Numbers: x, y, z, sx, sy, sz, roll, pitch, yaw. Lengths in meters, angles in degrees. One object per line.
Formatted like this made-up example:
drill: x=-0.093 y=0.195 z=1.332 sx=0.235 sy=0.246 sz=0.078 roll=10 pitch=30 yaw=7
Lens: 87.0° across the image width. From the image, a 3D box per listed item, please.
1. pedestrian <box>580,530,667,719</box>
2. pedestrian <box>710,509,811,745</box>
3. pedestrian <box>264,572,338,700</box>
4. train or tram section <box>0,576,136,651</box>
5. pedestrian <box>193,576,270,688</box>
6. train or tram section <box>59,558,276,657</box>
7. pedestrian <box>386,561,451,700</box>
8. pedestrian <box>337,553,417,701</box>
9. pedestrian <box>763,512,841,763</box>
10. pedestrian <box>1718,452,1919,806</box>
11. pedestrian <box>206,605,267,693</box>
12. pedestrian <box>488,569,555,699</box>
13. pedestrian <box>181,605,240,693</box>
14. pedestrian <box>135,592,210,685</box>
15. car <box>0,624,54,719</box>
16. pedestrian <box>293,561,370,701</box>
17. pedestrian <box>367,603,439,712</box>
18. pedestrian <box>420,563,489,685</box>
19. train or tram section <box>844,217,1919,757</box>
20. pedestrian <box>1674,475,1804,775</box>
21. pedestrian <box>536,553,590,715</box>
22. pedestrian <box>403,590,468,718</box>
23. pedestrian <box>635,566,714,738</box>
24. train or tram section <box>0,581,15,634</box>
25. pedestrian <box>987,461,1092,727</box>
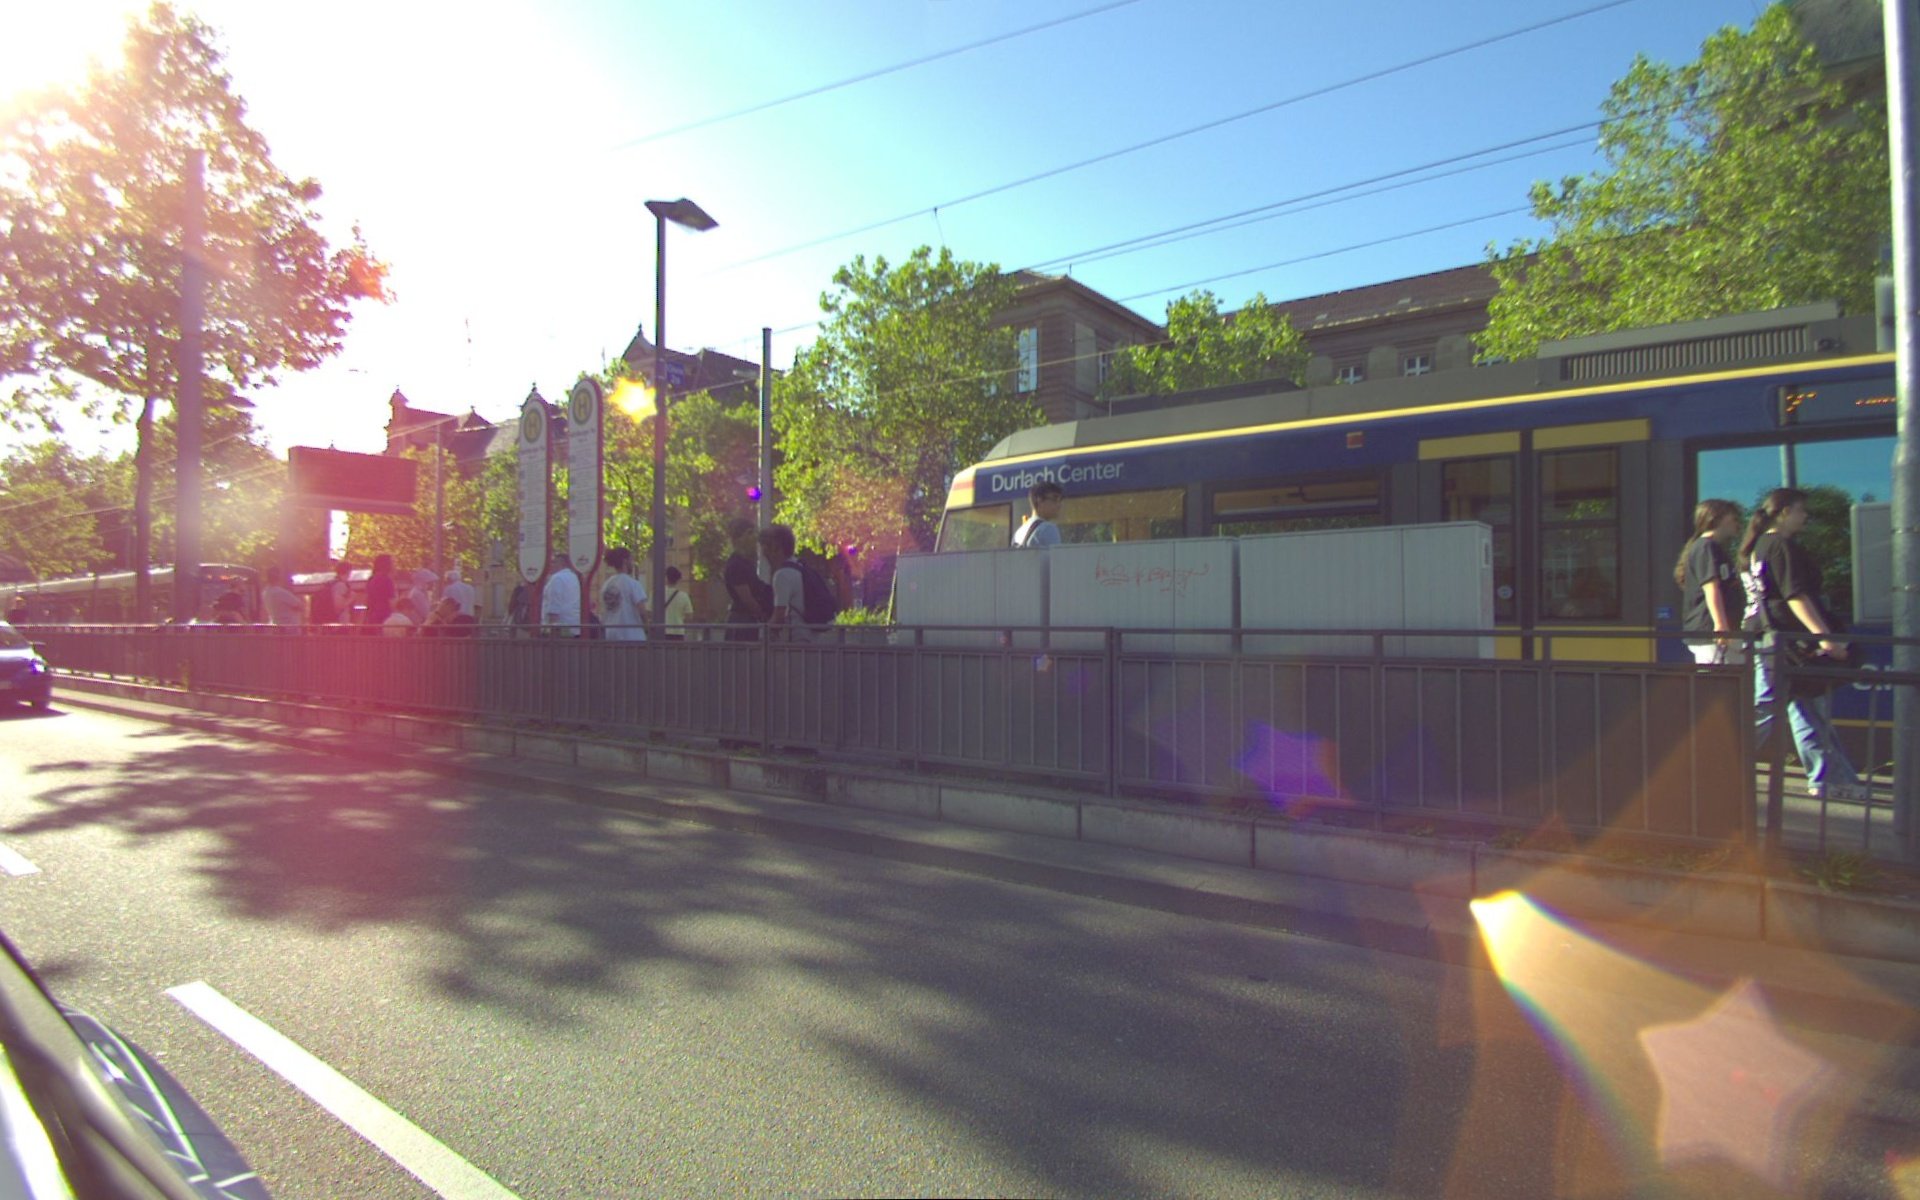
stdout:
pedestrian: x=-3.179 y=0.230 z=9.575 sx=0.610 sy=1.715 sz=0.501 roll=-1 pitch=-2 yaw=33
pedestrian: x=-1.545 y=0.208 z=7.863 sx=0.538 sy=1.747 sz=0.543 roll=-1 pitch=-2 yaw=33
pedestrian: x=-8.719 y=0.472 z=13.398 sx=0.570 sy=1.646 sz=0.654 roll=-2 pitch=-3 yaw=38
train or tram section: x=-47.962 y=0.803 z=53.484 sx=18.248 sy=3.460 sz=2.844 roll=-2 pitch=-1 yaw=38
pedestrian: x=-11.862 y=0.530 z=16.489 sx=0.721 sy=1.766 sz=0.769 roll=-1 pitch=-3 yaw=34
train or tram section: x=-33.594 y=0.438 z=42.275 sx=18.187 sy=3.460 sz=2.822 roll=-2 pitch=-1 yaw=38
pedestrian: x=-6.939 y=0.390 z=12.971 sx=0.620 sy=1.721 sz=0.510 roll=-1 pitch=-3 yaw=37
pedestrian: x=-6.997 y=0.325 z=12.154 sx=0.570 sy=1.709 sz=0.654 roll=-2 pitch=-3 yaw=38
pedestrian: x=-1.145 y=0.268 z=7.342 sx=0.531 sy=1.747 sz=0.550 roll=0 pitch=-2 yaw=-9
pedestrian: x=4.530 y=0.154 z=5.365 sx=0.745 sy=1.715 sz=0.627 roll=-1 pitch=-2 yaw=33
pedestrian: x=-10.555 y=0.708 z=14.765 sx=0.603 sy=1.256 sz=0.529 roll=-1 pitch=-3 yaw=35
pedestrian: x=-5.323 y=0.412 z=12.283 sx=0.530 sy=1.530 sz=0.540 roll=-2 pitch=-3 yaw=37
pedestrian: x=-11.418 y=0.740 z=15.425 sx=0.603 sy=1.309 sz=0.529 roll=-1 pitch=-3 yaw=34
pedestrian: x=-13.271 y=0.641 z=17.054 sx=0.750 sy=1.521 sz=0.769 roll=-1 pitch=-3 yaw=34
car: x=-16.272 y=1.133 z=16.485 sx=3.871 sy=1.426 sz=1.685 roll=-1 pitch=-1 yaw=39
pedestrian: x=-7.930 y=0.388 z=12.773 sx=0.570 sy=1.709 sz=0.654 roll=-2 pitch=-3 yaw=38
pedestrian: x=-6.394 y=0.648 z=11.613 sx=0.530 sy=1.201 sz=0.540 roll=-1 pitch=-3 yaw=37
pedestrian: x=-7.077 y=0.336 z=14.178 sx=0.621 sy=1.662 sz=0.613 roll=-1 pitch=-2 yaw=33
train or tram section: x=5.817 y=-0.704 z=8.005 sx=15.869 sy=3.284 sz=2.887 roll=0 pitch=1 yaw=38
pedestrian: x=4.738 y=0.151 z=6.190 sx=0.544 sy=1.715 sz=0.603 roll=-1 pitch=-2 yaw=33
pedestrian: x=-4.362 y=0.374 z=11.106 sx=0.498 sy=1.715 sz=0.613 roll=1 pitch=-2 yaw=-25
pedestrian: x=-5.593 y=0.571 z=10.790 sx=0.506 sy=1.326 sz=0.412 roll=-1 pitch=-2 yaw=36
pedestrian: x=-3.079 y=0.552 z=10.928 sx=0.610 sy=1.783 sz=0.548 roll=-1 pitch=-2 yaw=33
train or tram section: x=-53.067 y=0.488 z=53.223 sx=15.050 sy=2.551 sz=2.538 roll=-1 pitch=-2 yaw=38
pedestrian: x=0.554 y=-0.029 z=7.014 sx=0.538 sy=1.747 sz=0.543 roll=-1 pitch=-2 yaw=33
